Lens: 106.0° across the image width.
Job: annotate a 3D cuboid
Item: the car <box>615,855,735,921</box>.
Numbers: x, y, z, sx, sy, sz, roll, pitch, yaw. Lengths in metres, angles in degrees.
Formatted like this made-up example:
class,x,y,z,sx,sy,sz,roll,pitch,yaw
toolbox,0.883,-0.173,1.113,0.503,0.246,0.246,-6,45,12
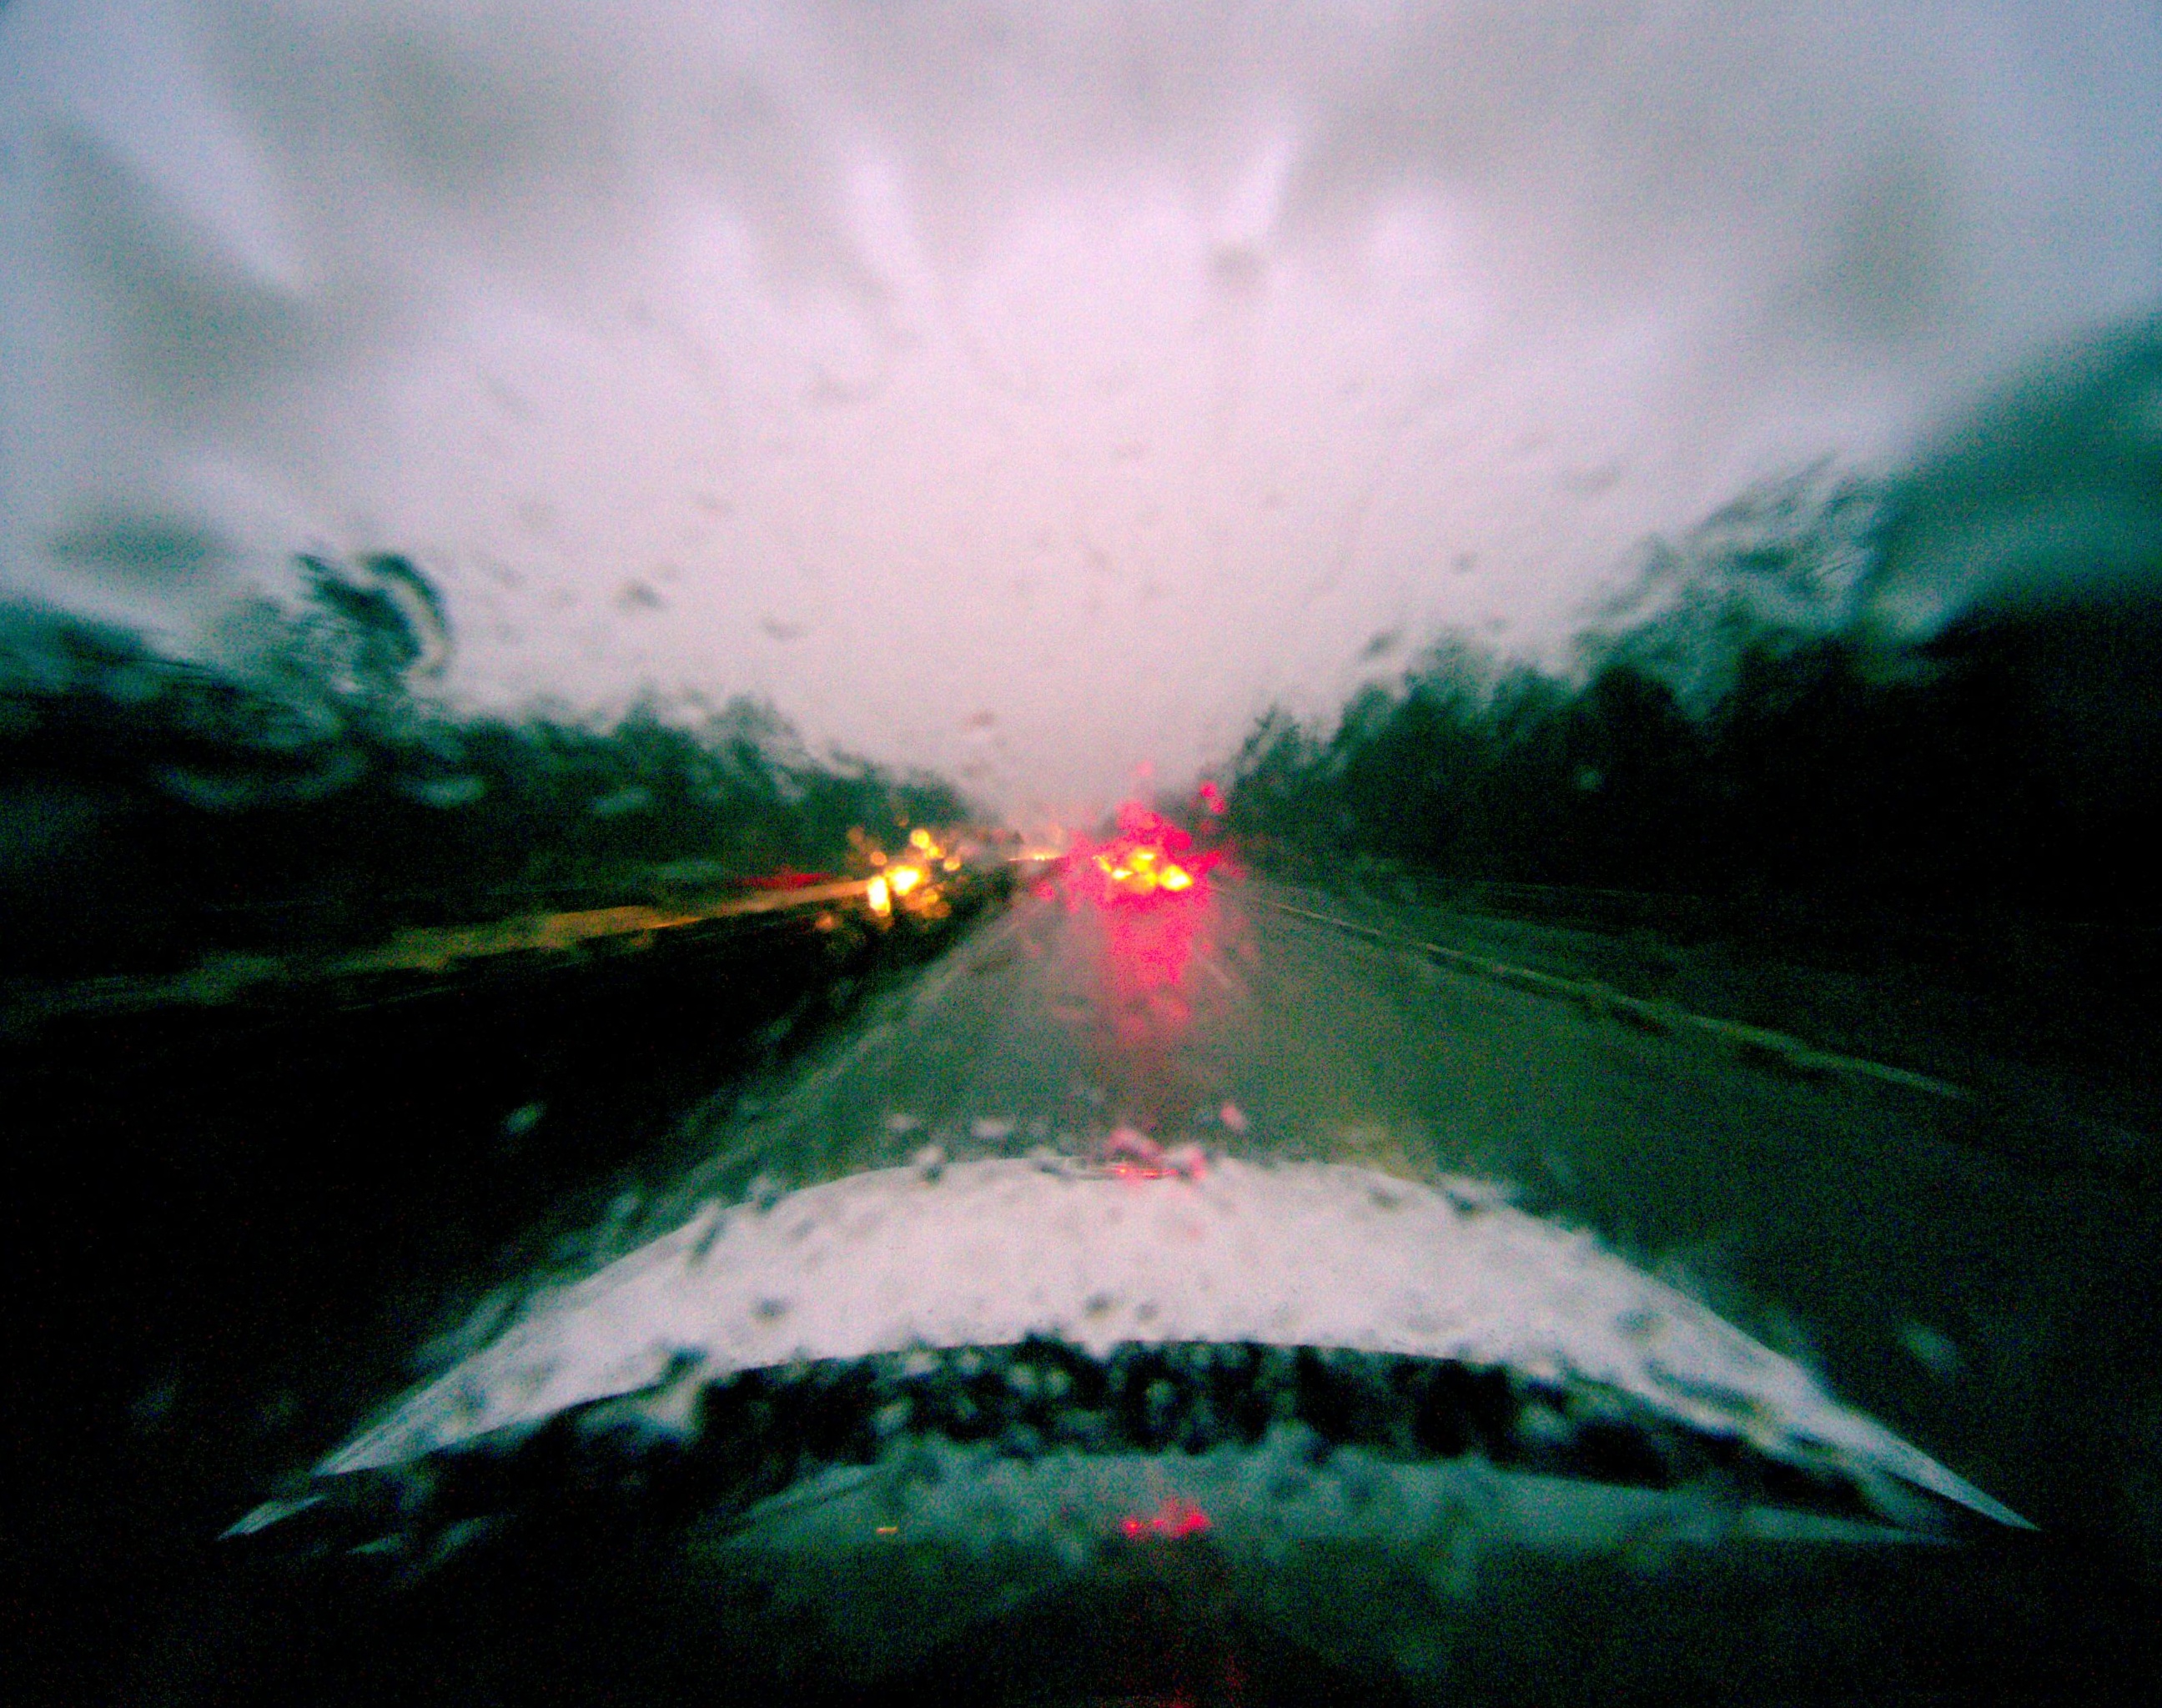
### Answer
class,x,y,z,sx,sy,sz,roll,pitch,yaw
car,-11.201,0.901,22.727,1.537,1.696,3.502,-1,-1,1

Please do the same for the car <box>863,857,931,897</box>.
class,x,y,z,sx,sy,sz,roll,pitch,yaw
car,-7.686,0.930,34.391,1.827,1.549,4.528,0,0,0

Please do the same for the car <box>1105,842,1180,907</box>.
class,x,y,z,sx,sy,sz,roll,pitch,yaw
car,1.765,0.604,24.699,1.919,1.791,3.939,0,-1,-1
